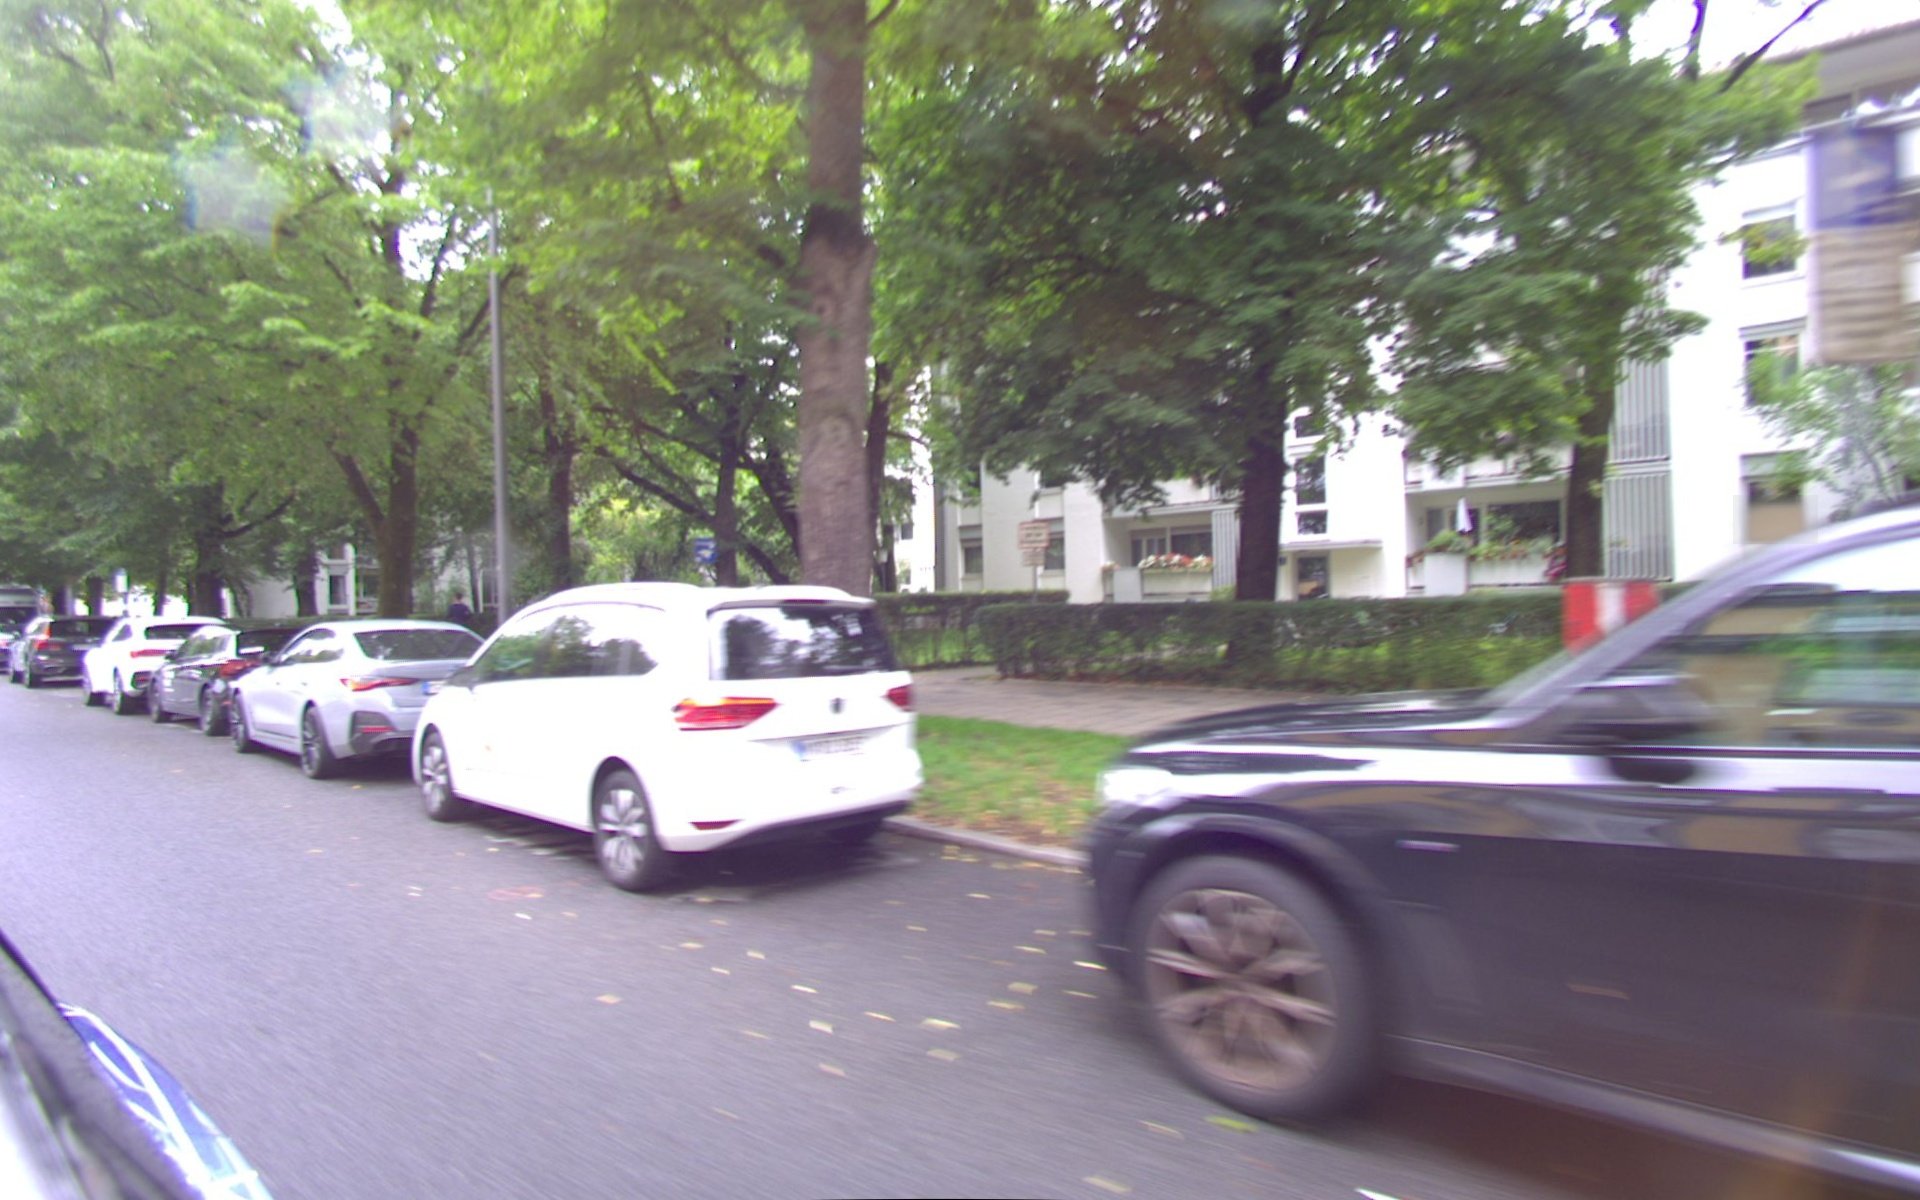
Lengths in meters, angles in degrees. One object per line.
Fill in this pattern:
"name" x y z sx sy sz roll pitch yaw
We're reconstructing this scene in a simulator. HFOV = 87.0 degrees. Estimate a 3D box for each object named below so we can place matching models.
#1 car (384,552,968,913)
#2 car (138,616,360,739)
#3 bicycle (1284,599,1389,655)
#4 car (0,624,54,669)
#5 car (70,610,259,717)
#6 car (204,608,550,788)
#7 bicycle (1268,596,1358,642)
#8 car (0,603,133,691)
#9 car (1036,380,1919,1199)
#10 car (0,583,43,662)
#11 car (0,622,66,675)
"car" -2.180 0.657 6.813 4.524 1.634 1.745 -1 -3 44
"car" -10.208 0.986 14.415 4.102 1.480 1.655 -1 0 41
"bicycle" 7.717 0.549 20.788 1.901 1.089 0.634 -2 0 39
"car" -32.494 1.583 34.668 4.578 1.449 1.770 -2 -1 43
"car" -13.949 1.010 17.642 4.582 1.609 1.765 -1 0 41
"car" -6.418 0.856 10.835 4.996 1.480 1.790 -1 0 43
"bicycle" 8.405 0.460 24.141 1.901 1.045 0.634 -2 0 39
"car" -21.249 1.066 24.020 4.546 1.891 1.765 -1 -2 41
"car" 2.697 0.505 2.338 4.921 1.810 1.971 -1 -2 44
"car" -36.966 0.829 38.939 6.236 2.876 1.924 0 0 43
"car" -28.074 1.425 30.262 1.769 1.449 4.554 0 -1 -45
